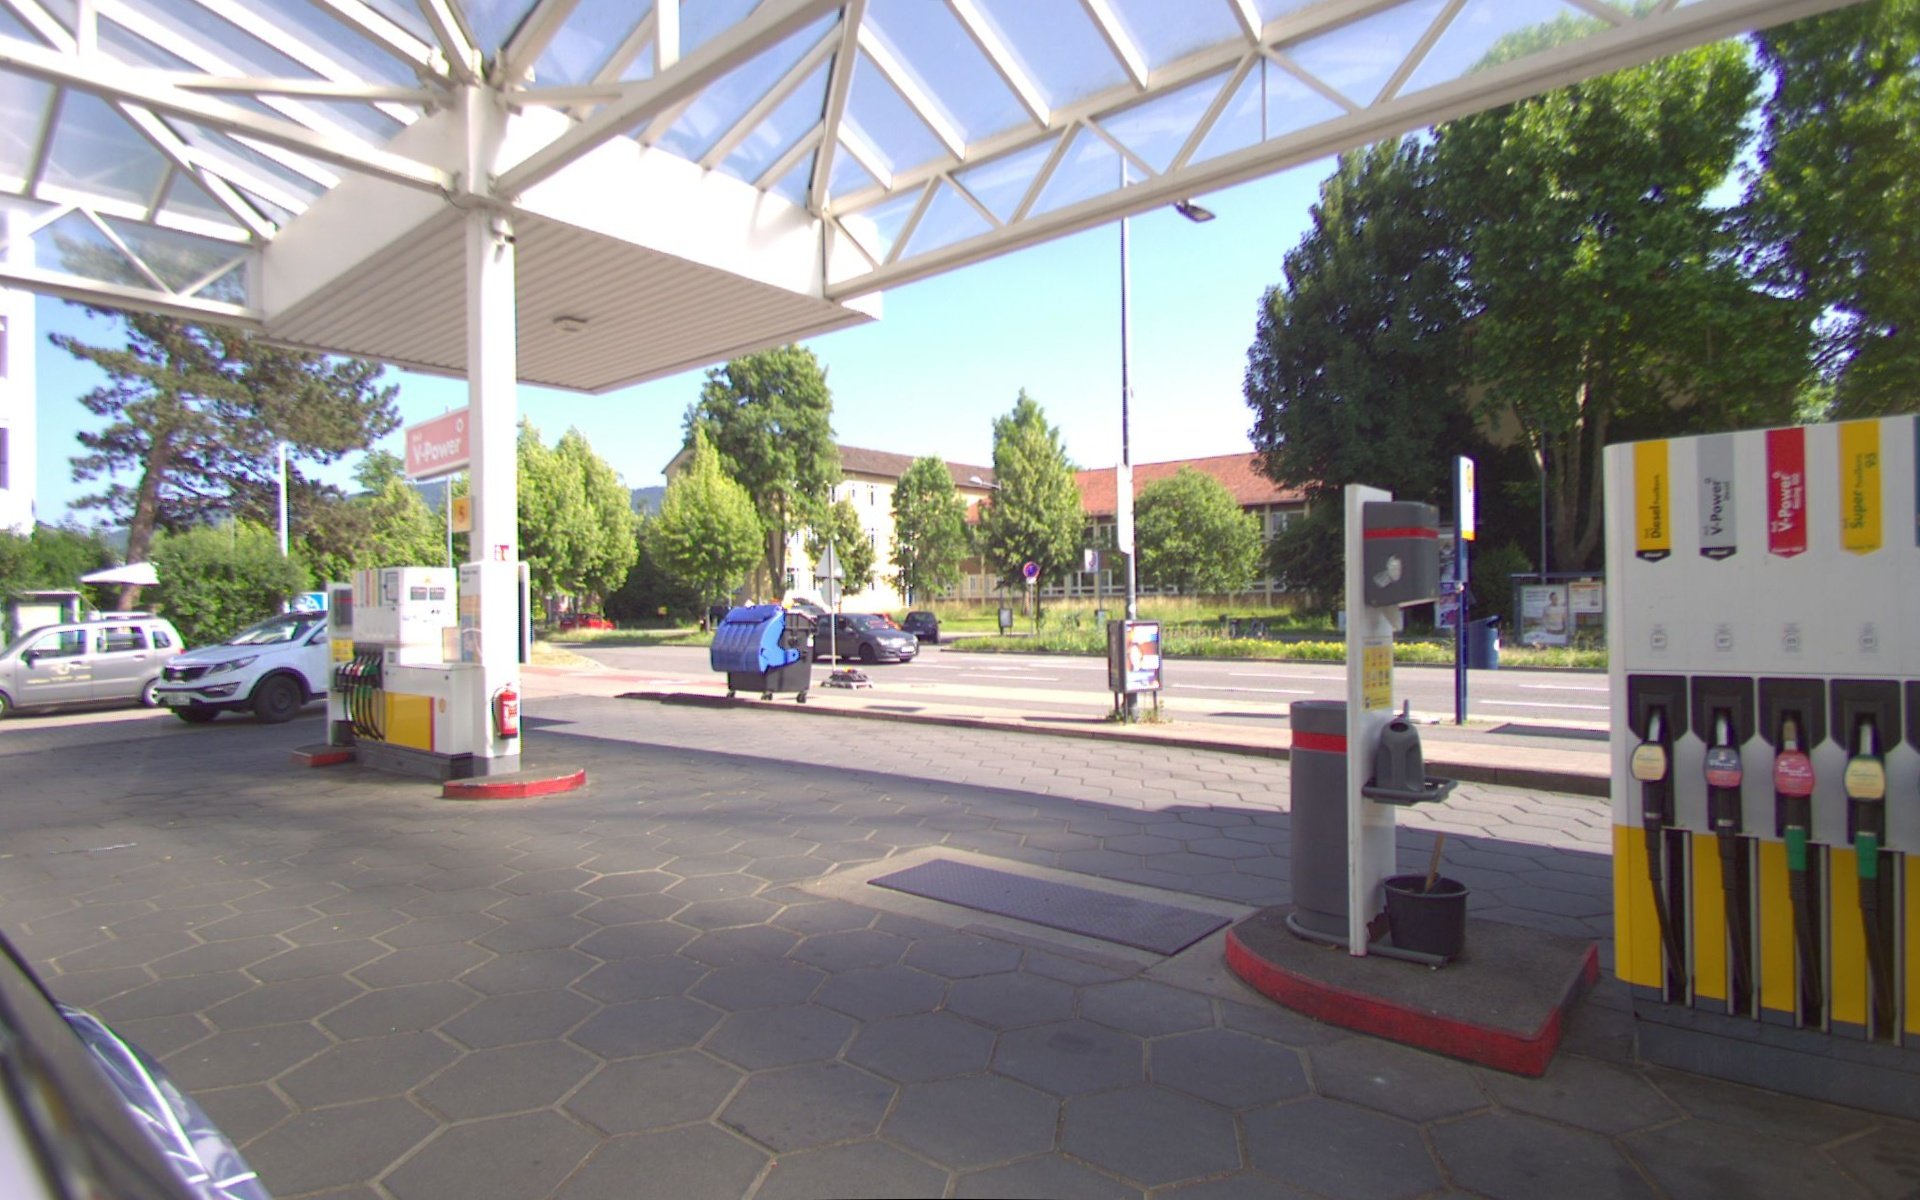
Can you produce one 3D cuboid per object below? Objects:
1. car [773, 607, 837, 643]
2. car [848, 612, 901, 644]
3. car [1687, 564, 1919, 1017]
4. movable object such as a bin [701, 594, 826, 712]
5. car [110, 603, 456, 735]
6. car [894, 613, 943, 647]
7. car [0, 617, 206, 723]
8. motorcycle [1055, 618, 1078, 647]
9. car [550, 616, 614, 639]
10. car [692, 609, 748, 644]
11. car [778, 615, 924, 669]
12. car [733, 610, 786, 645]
[{"bbox_3d":[-7.782,1.254,51.280,1.862,1.735,4.210,0,-2,11],"label":"car"},{"bbox_3d":[-3.993,1.328,48.100,1.857,1.471,4.220,1,-2,5],"label":"car"},{"bbox_3d":[4.859,0.653,3.239,3.997,1.543,1.726,-1,-2,40],"label":"car"},{"bbox_3d":[-3.011,0.800,15.562,1.337,1.701,1.324,-1,-3,42],"label":"movable object such as a bin"},{"bbox_3d":[-10.444,0.971,16.056,1.945,1.719,4.282,-2,0,18],"label":"car"},{"bbox_3d":[-1.846,1.360,45.990,1.719,1.471,4.219,0,-2,5],"label":"car"},{"bbox_3d":[-15.774,1.190,17.925,1.692,1.629,3.612,-1,1,42],"label":"car"},{"bbox_3d":[4.276,1.295,40.586,0.553,1.122,1.749,-1,-1,17],"label":"motorcycle"},{"bbox_3d":[-24.357,1.786,65.356,1.869,1.401,3.699,0,-2,22],"label":"car"},{"bbox_3d":[-12.485,1.410,52.895,1.856,1.735,4.223,1,-2,1],"label":"car"},{"bbox_3d":[-3.289,1.220,30.246,4.367,1.479,1.551,-1,0,34],"label":"car"},{"bbox_3d":[-10.418,1.438,52.849,1.856,1.735,4.223,1,-2,1],"label":"car"}]
